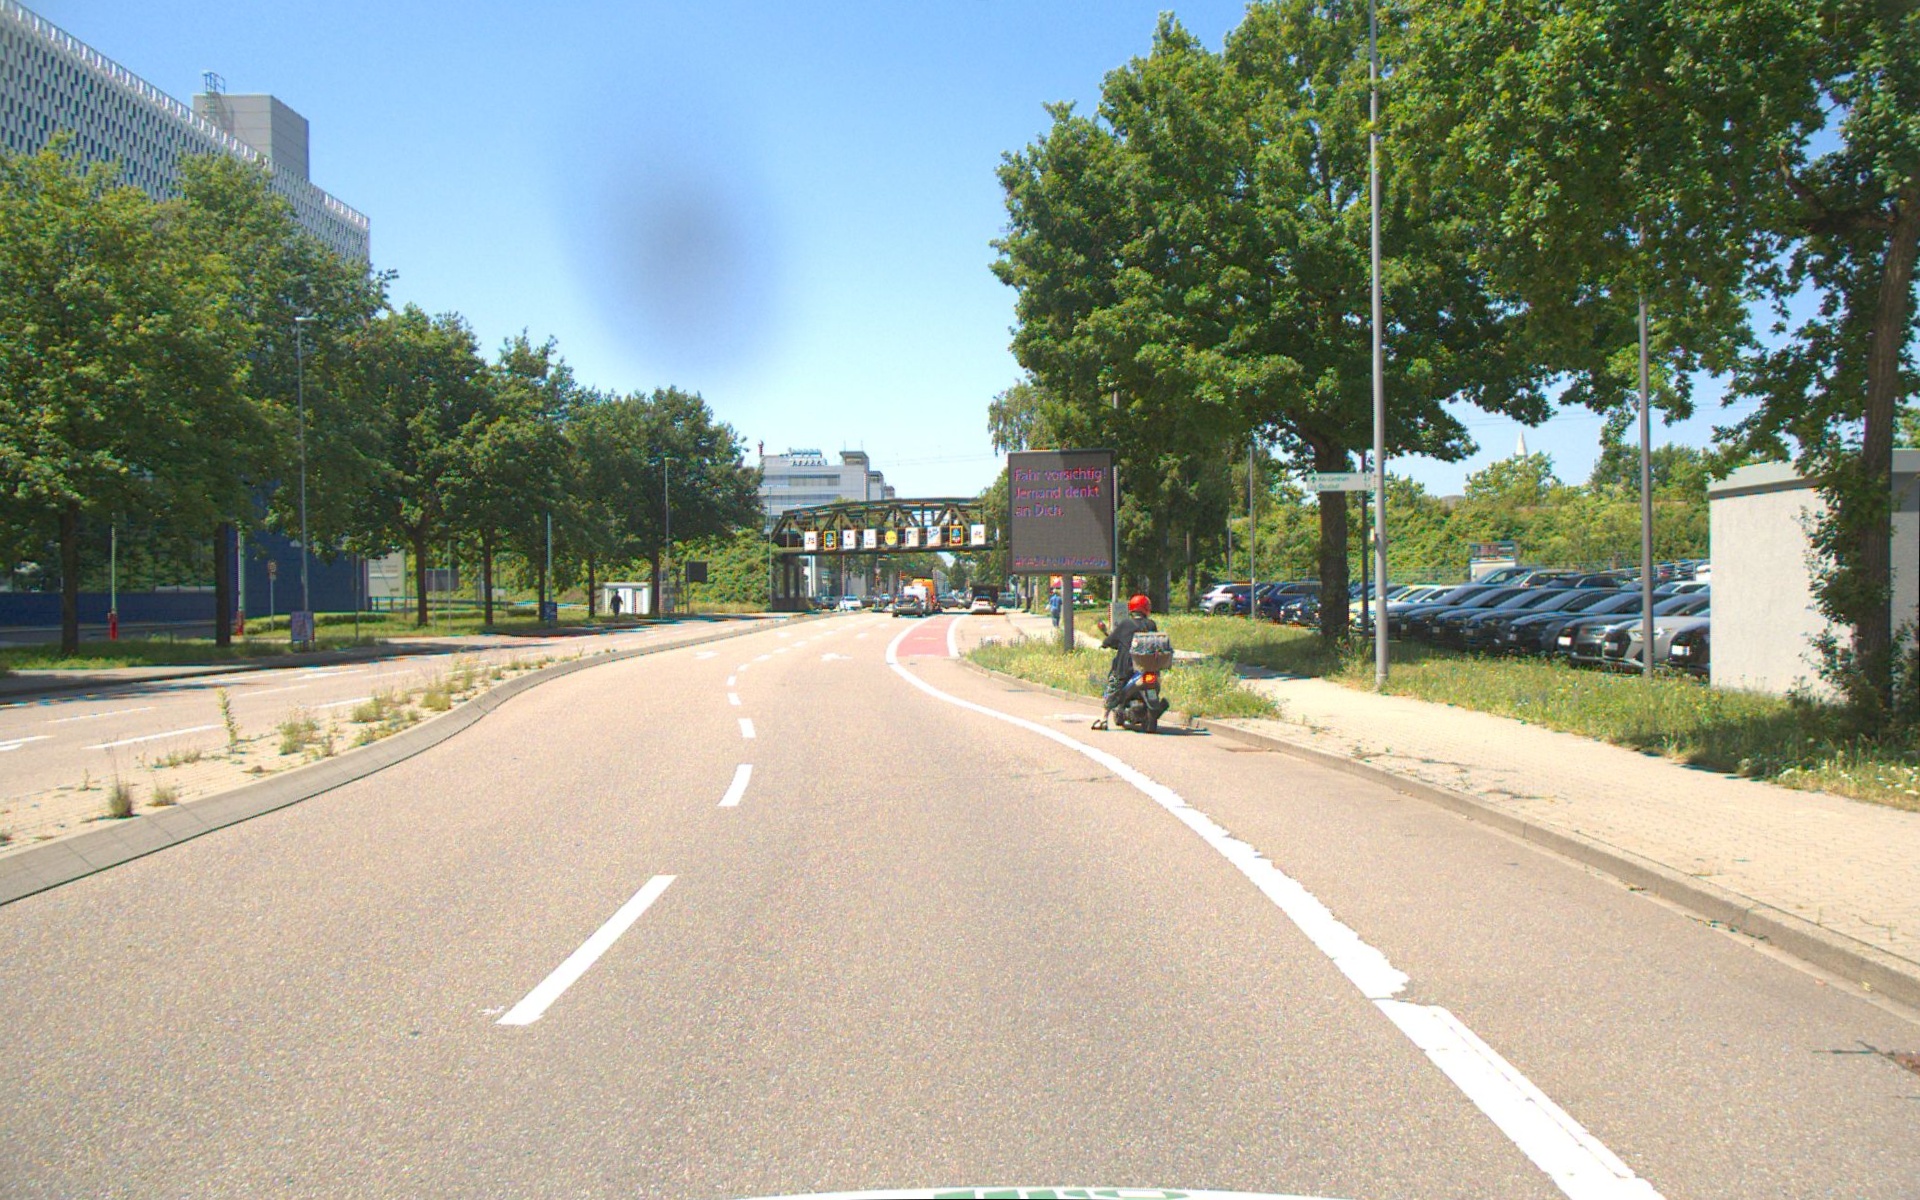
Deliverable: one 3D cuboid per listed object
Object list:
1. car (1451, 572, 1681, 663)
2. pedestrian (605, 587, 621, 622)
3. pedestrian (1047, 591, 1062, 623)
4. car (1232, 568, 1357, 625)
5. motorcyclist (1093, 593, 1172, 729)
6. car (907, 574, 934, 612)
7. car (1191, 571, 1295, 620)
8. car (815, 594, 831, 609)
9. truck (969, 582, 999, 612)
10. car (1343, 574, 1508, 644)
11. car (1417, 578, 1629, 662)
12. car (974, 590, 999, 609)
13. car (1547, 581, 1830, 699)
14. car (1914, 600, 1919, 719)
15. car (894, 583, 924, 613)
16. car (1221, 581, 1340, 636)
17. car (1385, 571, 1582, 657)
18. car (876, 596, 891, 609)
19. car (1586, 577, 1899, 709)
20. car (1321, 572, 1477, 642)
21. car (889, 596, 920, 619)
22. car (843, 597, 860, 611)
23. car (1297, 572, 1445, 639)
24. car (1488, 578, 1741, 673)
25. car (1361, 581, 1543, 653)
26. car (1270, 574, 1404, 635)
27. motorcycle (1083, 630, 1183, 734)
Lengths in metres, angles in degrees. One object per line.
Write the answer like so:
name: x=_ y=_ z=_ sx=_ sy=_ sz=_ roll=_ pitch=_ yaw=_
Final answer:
car: x=12.203 y=0.342 z=33.446 sx=3.909 sy=1.464 sz=1.796 roll=5 pitch=0 yaw=-4
pedestrian: x=-19.301 y=0.261 z=92.077 sx=0.728 sy=1.917 sz=0.577 roll=-1 pitch=0 yaw=1
pedestrian: x=4.053 y=0.300 z=71.181 sx=0.611 sy=1.398 sz=0.564 roll=0 pitch=0 yaw=-1
car: x=11.470 y=-0.117 z=56.877 sx=3.786 sy=1.631 sz=1.796 roll=5 pitch=0 yaw=-4
motorcyclist: x=2.021 y=0.706 z=19.432 sx=0.706 sy=1.556 sz=0.869 roll=1 pitch=0 yaw=-9
car: x=-3.084 y=-0.559 z=130.226 sx=2.030 sy=2.904 sz=6.764 roll=-1 pitch=0 yaw=-1
car: x=11.561 y=-0.184 z=67.610 sx=3.786 sy=1.631 sz=1.796 roll=5 pitch=0 yaw=-4
car: x=-16.842 y=0.211 z=203.392 sx=1.681 sy=1.763 sz=3.805 roll=0 pitch=0 yaw=-2
truck: x=1.982 y=-0.265 z=140.090 sx=2.408 sy=2.452 sz=7.134 roll=1 pitch=0 yaw=0
car: x=12.356 y=0.237 z=44.029 sx=3.786 sy=1.528 sz=1.796 roll=5 pitch=0 yaw=-4
car: x=12.169 y=0.413 z=35.904 sx=3.909 sy=1.464 sz=1.796 roll=5 pitch=0 yaw=-4
car: x=2.055 y=-0.068 z=131.333 sx=1.885 sy=1.445 sz=4.000 roll=0 pitch=0 yaw=-1
car: x=12.096 y=0.645 z=27.605 sx=3.840 sy=1.609 sz=1.796 roll=5 pitch=0 yaw=-4
car: x=11.866 y=0.658 z=15.991 sx=4.135 sy=1.365 sz=1.917 roll=3 pitch=0 yaw=0
car: x=-3.452 y=-0.146 z=112.848 sx=1.953 sy=2.049 sz=4.000 roll=1 pitch=0 yaw=-1
car: x=11.506 y=0.297 z=59.534 sx=3.786 sy=1.631 sz=1.796 roll=5 pitch=0 yaw=-4
car: x=12.171 y=0.323 z=38.558 sx=3.909 sy=1.652 sz=1.796 roll=5 pitch=0 yaw=-4
car: x=-8.750 y=0.273 z=189.036 sx=1.564 sy=1.355 sz=3.271 roll=0 pitch=0 yaw=-4
car: x=11.990 y=0.638 z=25.488 sx=3.909 sy=1.646 sz=1.796 roll=5 pitch=0 yaw=-4
car: x=12.315 y=0.186 z=46.524 sx=3.786 sy=1.631 sz=1.796 roll=5 pitch=0 yaw=-4
car: x=-3.543 y=0.458 z=105.538 sx=1.862 sy=1.400 sz=4.231 roll=-1 pitch=0 yaw=-1
car: x=-10.984 y=0.426 z=167.063 sx=1.565 sy=1.355 sz=3.269 roll=0 pitch=0 yaw=-7
car: x=12.144 y=0.160 z=48.986 sx=3.786 sy=1.631 sz=1.796 roll=5 pitch=0 yaw=-4
car: x=12.071 y=0.459 z=30.658 sx=3.909 sy=1.401 sz=1.796 roll=5 pitch=0 yaw=-4
car: x=12.253 y=0.409 z=41.361 sx=3.909 sy=1.447 sz=1.796 roll=5 pitch=0 yaw=-4
car: x=12.169 y=0.139 z=53.490 sx=3.786 sy=1.631 sz=1.796 roll=5 pitch=0 yaw=-4
motorcycle: x=2.011 y=0.934 z=19.473 sx=0.703 sy=1.124 sz=1.826 roll=1 pitch=0 yaw=-9
